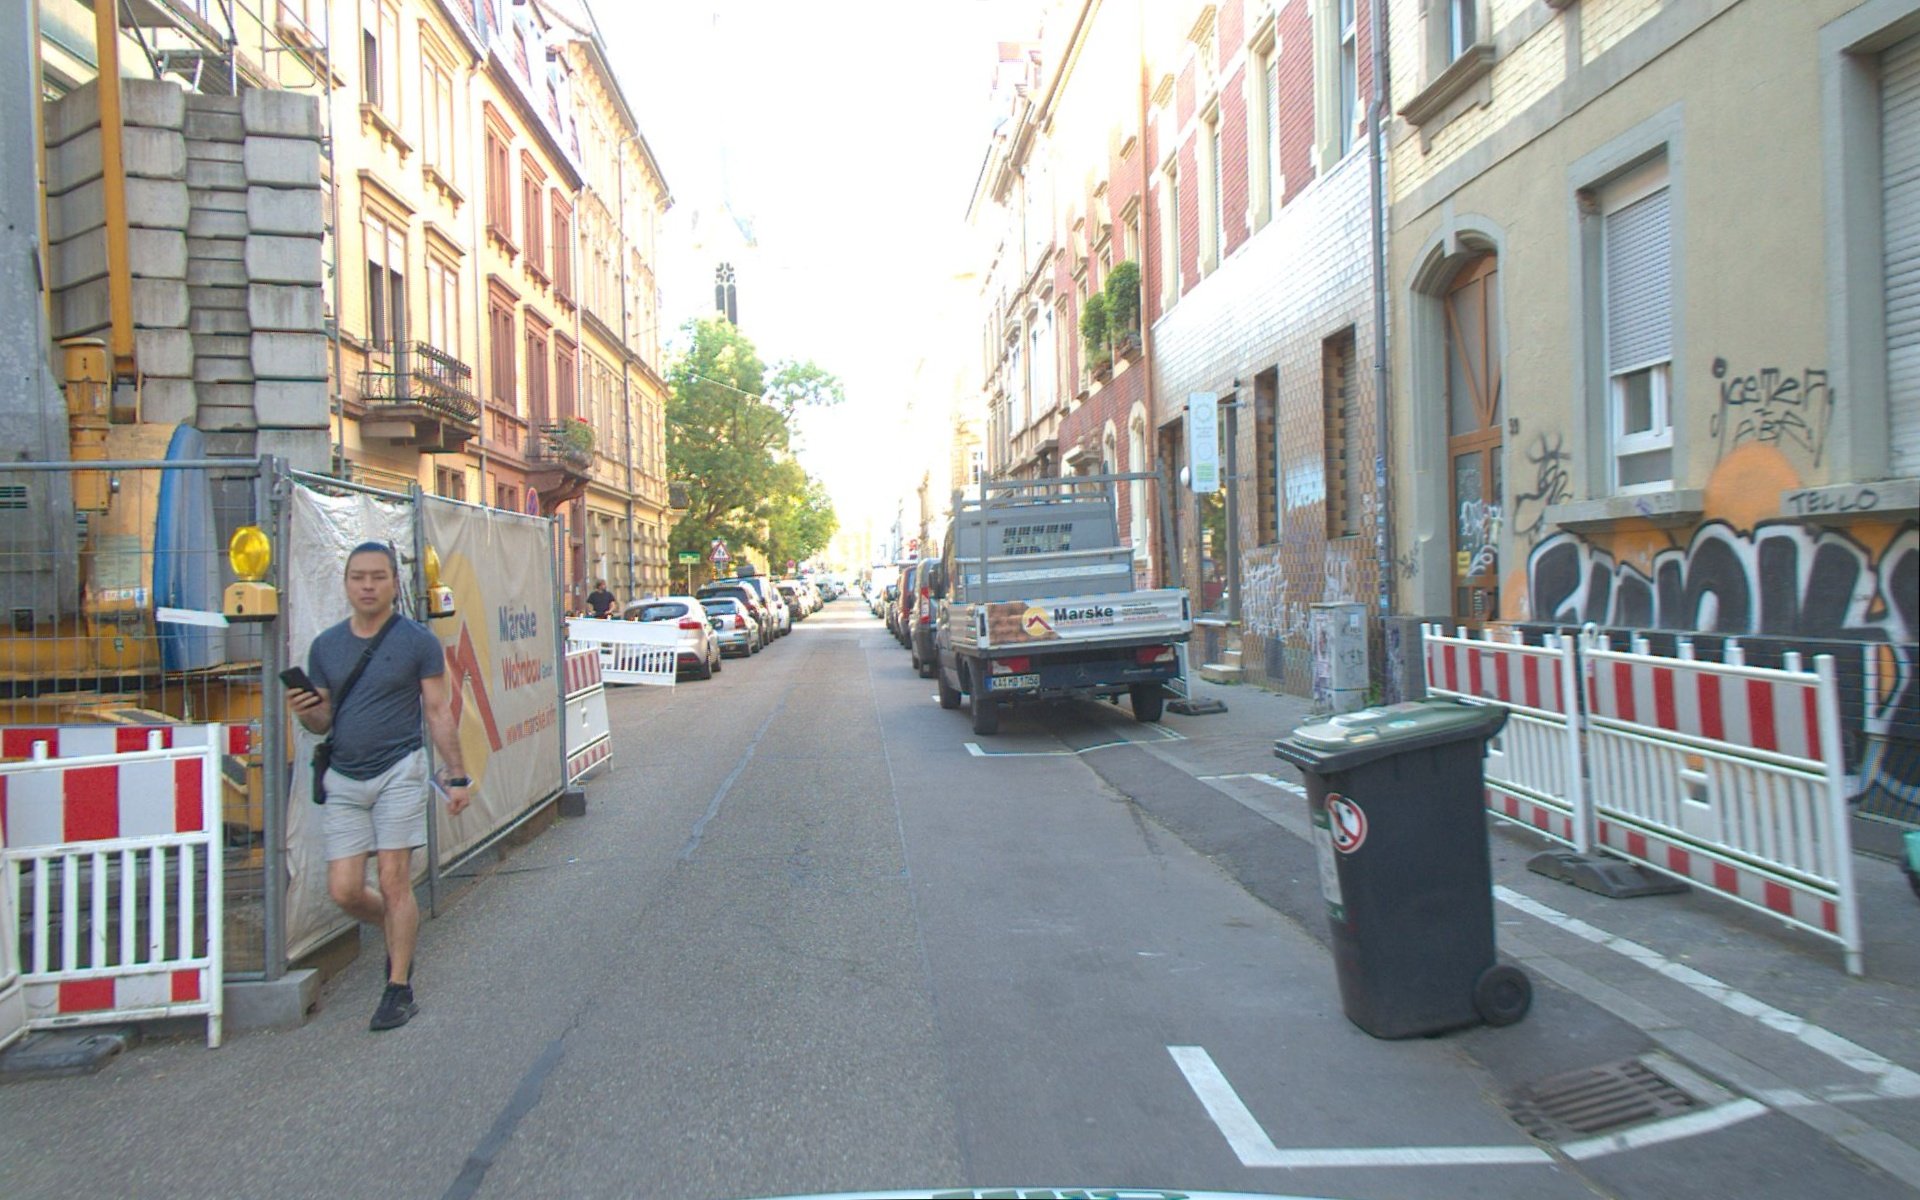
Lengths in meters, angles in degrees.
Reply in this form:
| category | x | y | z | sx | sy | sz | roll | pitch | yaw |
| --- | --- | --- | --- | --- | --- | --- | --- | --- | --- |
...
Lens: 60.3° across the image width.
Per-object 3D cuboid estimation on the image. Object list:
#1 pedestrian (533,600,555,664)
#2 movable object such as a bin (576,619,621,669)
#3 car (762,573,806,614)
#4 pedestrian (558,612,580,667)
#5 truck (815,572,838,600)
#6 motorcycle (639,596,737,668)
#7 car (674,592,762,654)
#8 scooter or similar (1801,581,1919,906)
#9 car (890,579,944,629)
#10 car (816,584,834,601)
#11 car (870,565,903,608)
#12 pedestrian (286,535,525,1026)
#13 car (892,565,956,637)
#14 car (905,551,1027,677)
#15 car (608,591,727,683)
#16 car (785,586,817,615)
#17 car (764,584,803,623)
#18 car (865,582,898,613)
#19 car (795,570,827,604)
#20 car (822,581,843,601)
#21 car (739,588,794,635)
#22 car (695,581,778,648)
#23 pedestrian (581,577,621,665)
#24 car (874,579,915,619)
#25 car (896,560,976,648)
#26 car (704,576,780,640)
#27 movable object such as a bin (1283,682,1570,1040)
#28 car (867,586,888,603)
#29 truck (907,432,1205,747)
| category | x | y | z | sx | sy | sz | roll | pitch | yaw |
| --- | --- | --- | --- | --- | --- | --- | --- | --- | --- |
| pedestrian | -8.653 | 0.662 | 34.416 | 0.386 | 1.329 | 0.431 | -1 | 0 | -9 |
| movable object such as a bin | -7.357 | 0.886 | 33.734 | 0.747 | 0.948 | 1.413 | -2 | 1 | -8 |
| car | -8.703 | -0.360 | 82.019 | 1.808 | 1.894 | 4.463 | -2 | 1 | -2 |
| pedestrian | -8.123 | 0.816 | 34.387 | 0.386 | 1.105 | 0.431 | -1 | 0 | -9 |
| truck | -16.299 | -1.711 | 202.166 | 2.482 | 3.339 | 6.990 | -2 | 1 | -3 |
| motorcycle | -5.764 | 0.688 | 34.952 | 2.159 | 1.383 | 0.839 | -4 | 1 | 44 |
| car | -5.585 | 0.516 | 38.584 | 1.665 | 1.337 | 3.997 | 1 | 0 | -3 |
| scooter or similar | 3.950 | 0.549 | 6.238 | 0.447 | 1.230 | 1.438 | -6 | 1 | -15 |
| car | -1.441 | 0.114 | 54.248 | 1.633 | 1.505 | 3.885 | -2 | 1 | -3 |
| car | -15.200 | -0.889 | 185.626 | 1.840 | 1.827 | 3.994 | -2 | 1 | -6 |
| car | -4.839 | -0.895 | 108.066 | 2.027 | 2.656 | 5.884 | -1 | 1 | -3 |
| pedestrian | -2.026 | 0.619 | 6.136 | 0.581 | 1.672 | 0.812 | -2 | 0 | -4 |
| car | -1.109 | 0.007 | 48.827 | 1.734 | 1.995 | 4.261 | -1 | 0 | -3 |
| car | 0.020 | 0.206 | 28.817 | 1.808 | 2.018 | 4.573 | 0 | 0 | -4 |
| car | -5.196 | 0.606 | 29.817 | 1.641 | 1.443 | 3.997 | -4 | 1 | -4 |
| car | -9.406 | 0.029 | 97.891 | 1.708 | 1.614 | 3.866 | -2 | 1 | -3 |
| car | -8.153 | 0.152 | 76.521 | 1.707 | 1.675 | 4.284 | -2 | 1 | -6 |
| car | -4.433 | -0.126 | 93.388 | 1.771 | 1.719 | 4.212 | 0 | 0 | -3 |
| car | -9.364 | -0.820 | 104.076 | 1.828 | 1.991 | 4.606 | -4 | 1 | -4 |
| car | -12.617 | -0.887 | 163.891 | 1.838 | 1.827 | 3.998 | -2 | 1 | -3 |
| car | -6.249 | 0.341 | 53.708 | 1.641 | 1.445 | 3.870 | -1 | 0 | -5 |
| car | -5.835 | 0.338 | 43.607 | 1.752 | 1.652 | 4.605 | -1 | 0 | -3 |
| pedestrian | -7.566 | 0.432 | 34.872 | 0.672 | 1.795 | 0.886 | -3 | 0 | -7 |
| car | -3.136 | -0.069 | 78.682 | 1.670 | 1.744 | 3.934 | -3 | 1 | -5 |
| car | -0.664 | 0.070 | 41.422 | 1.795 | 2.049 | 4.739 | -1 | 0 | -3 |
| car | -6.424 | 0.210 | 49.155 | 1.855 | 1.816 | 4.605 | -1 | 0 | -3 |
| movable object such as a bin | 1.579 | 0.859 | 5.692 | 0.725 | 1.075 | 0.687 | -3 | 1 | -4 |
| car | -7.624 | -0.536 | 152.241 | 1.860 | 1.514 | 3.867 | -2 | 1 | -3 |
| truck | 0.802 | -0.132 | 18.491 | 2.108 | 2.702 | 6.245 | -6 | 1 | -6 |
